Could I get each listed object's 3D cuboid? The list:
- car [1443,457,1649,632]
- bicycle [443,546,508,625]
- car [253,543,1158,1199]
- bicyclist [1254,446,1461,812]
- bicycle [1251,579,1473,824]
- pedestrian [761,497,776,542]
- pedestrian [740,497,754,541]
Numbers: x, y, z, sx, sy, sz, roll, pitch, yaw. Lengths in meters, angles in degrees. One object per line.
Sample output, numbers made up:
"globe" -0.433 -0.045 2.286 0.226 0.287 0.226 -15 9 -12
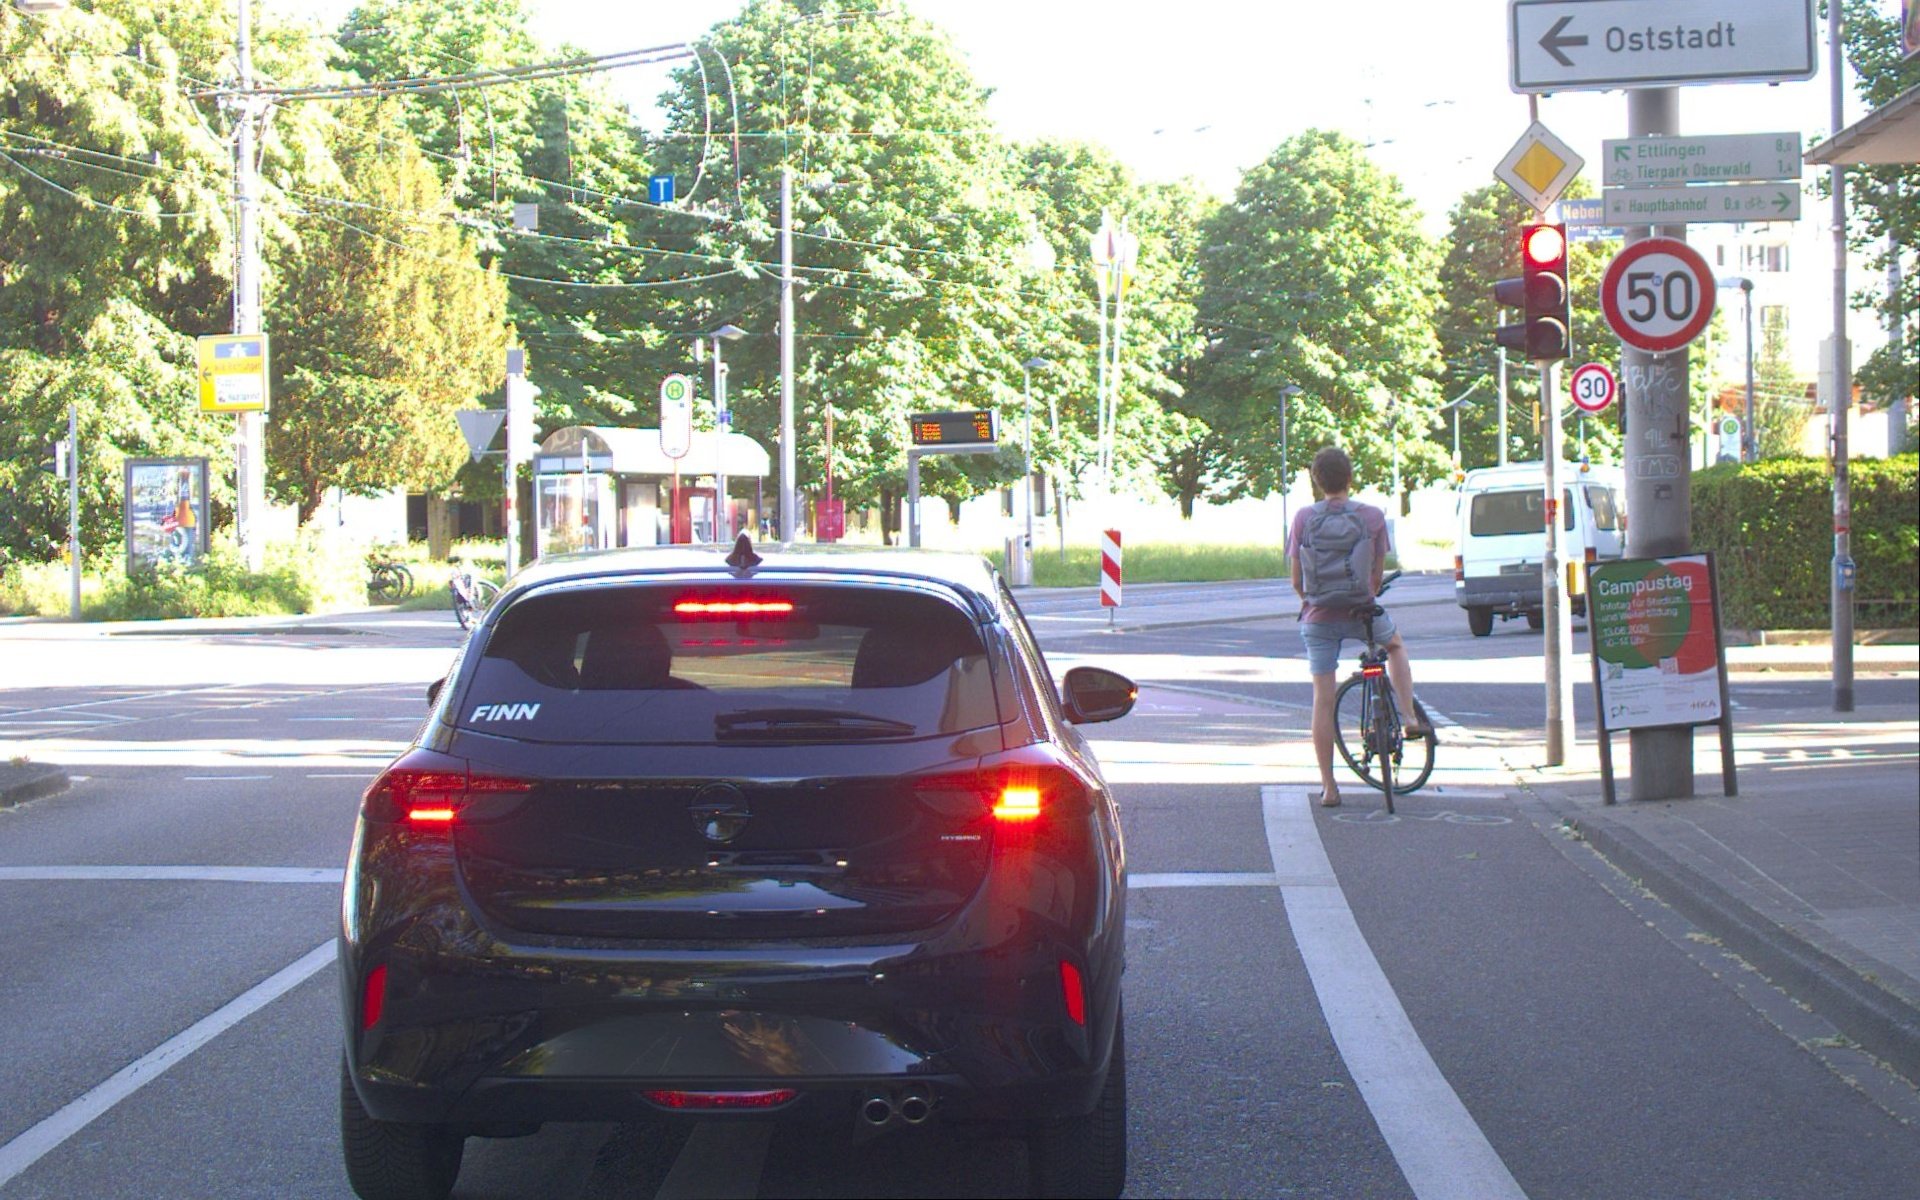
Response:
"car" 7.979 -0.772 46.468 2.065 2.241 4.883 0 1 18
"bicycle" -6.547 -0.208 46.490 0.605 1.028 1.982 0 1 -1
"car" -0.504 0.583 8.681 1.727 1.424 4.187 0 1 0
"bicyclist" 2.057 0.138 17.902 0.941 1.845 0.864 -1 1 -1
"bicycle" 2.066 0.492 17.967 0.860 1.149 2.172 -1 1 -1
"pedestrian" -6.061 -2.546 108.793 0.412 1.408 0.436 1 0 -1
"pedestrian" -6.755 -2.567 109.085 0.412 1.408 0.436 1 0 -3
